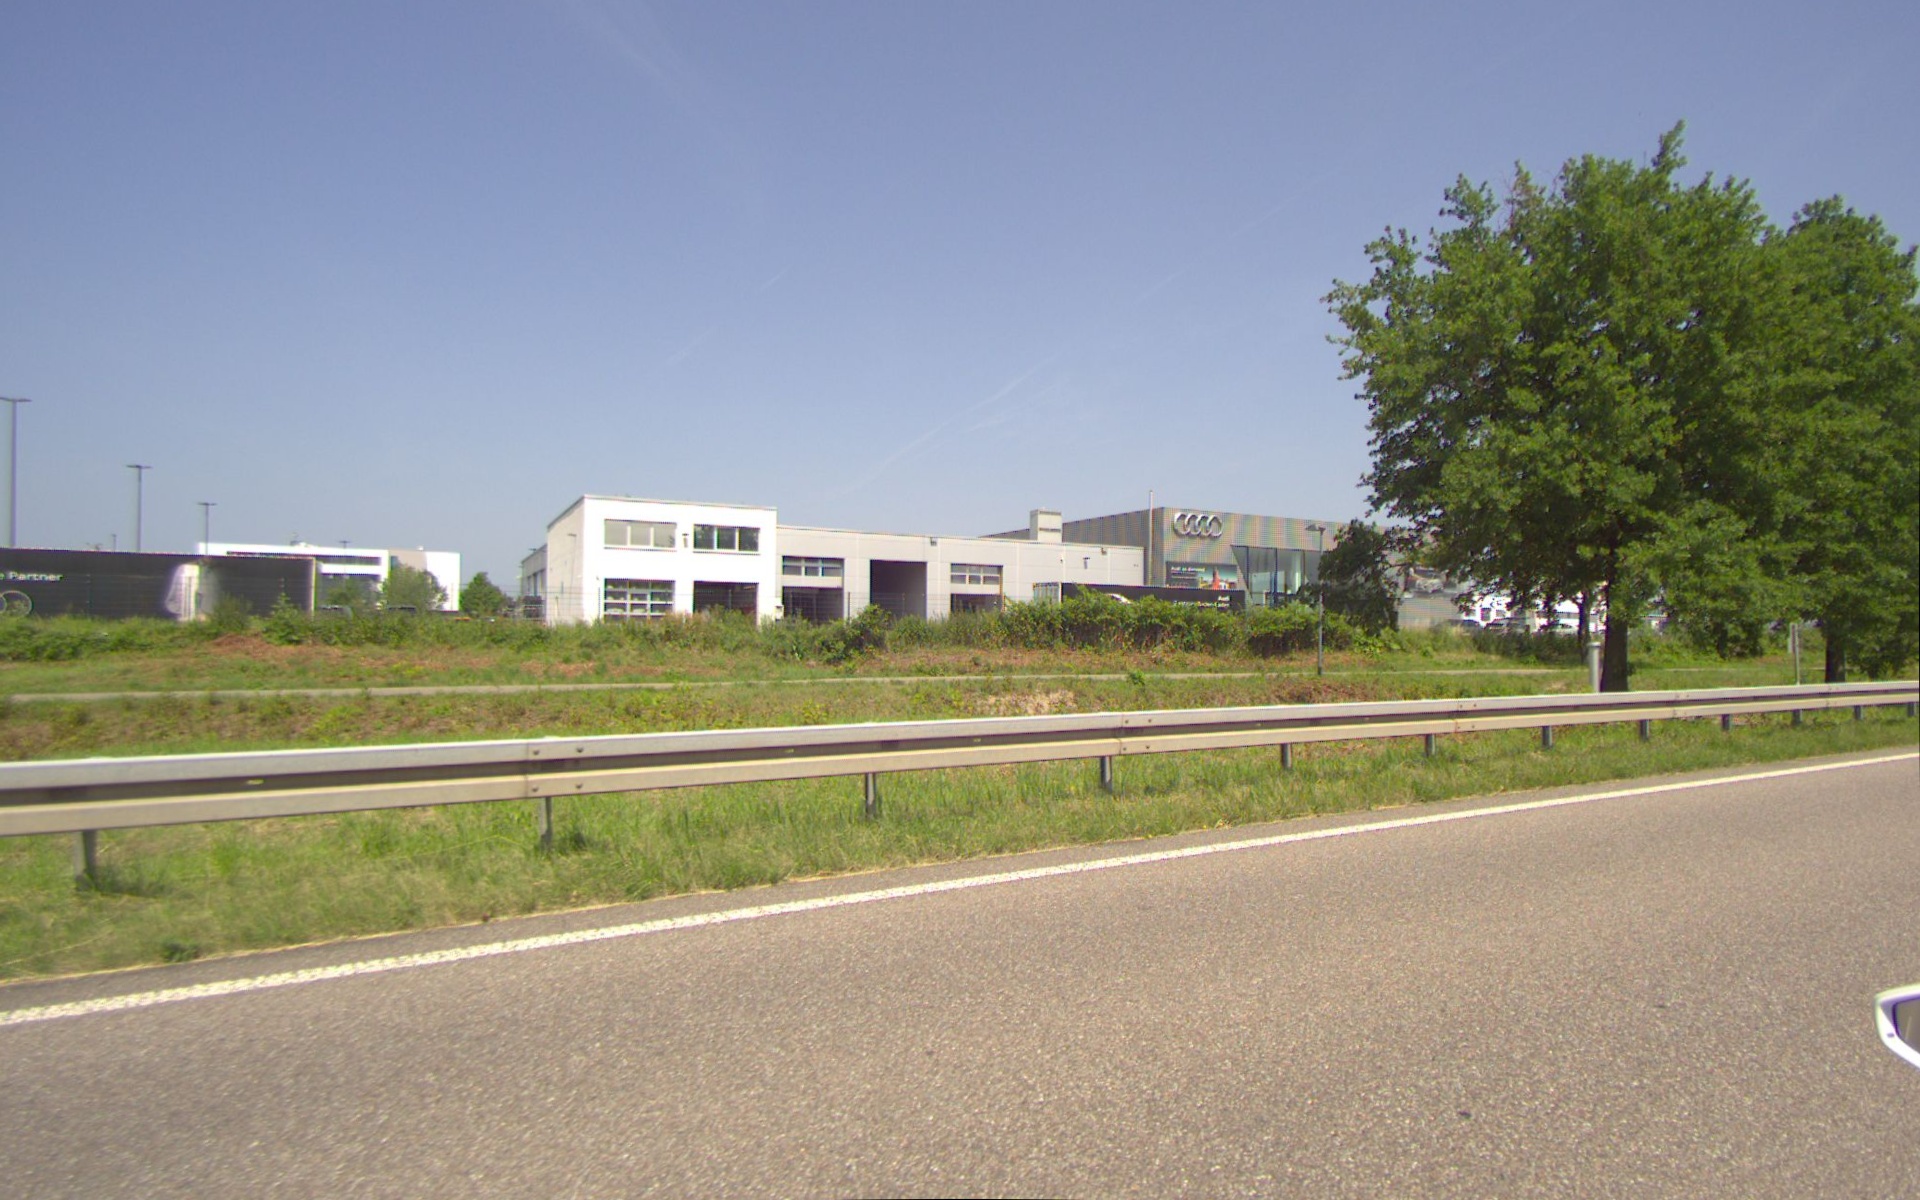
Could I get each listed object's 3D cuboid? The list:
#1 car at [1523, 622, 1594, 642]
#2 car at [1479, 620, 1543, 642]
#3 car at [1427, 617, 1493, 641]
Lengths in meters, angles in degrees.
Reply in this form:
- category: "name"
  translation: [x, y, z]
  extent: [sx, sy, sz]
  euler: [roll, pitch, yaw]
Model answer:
- category: "car"
  translation: [43.917, 2.374, 73.751]
  extent: [1.608, 1.455, 4.199]
  euler: [2, -3, -35]
- category: "car"
  translation: [38.779, 2.182, 70.705]
  extent: [4.608, 1.455, 1.740]
  euler: [2, -3, -29]
- category: "car"
  translation: [34.149, 1.982, 68.537]
  extent: [4.608, 1.557, 1.740]
  euler: [2, -3, -29]
